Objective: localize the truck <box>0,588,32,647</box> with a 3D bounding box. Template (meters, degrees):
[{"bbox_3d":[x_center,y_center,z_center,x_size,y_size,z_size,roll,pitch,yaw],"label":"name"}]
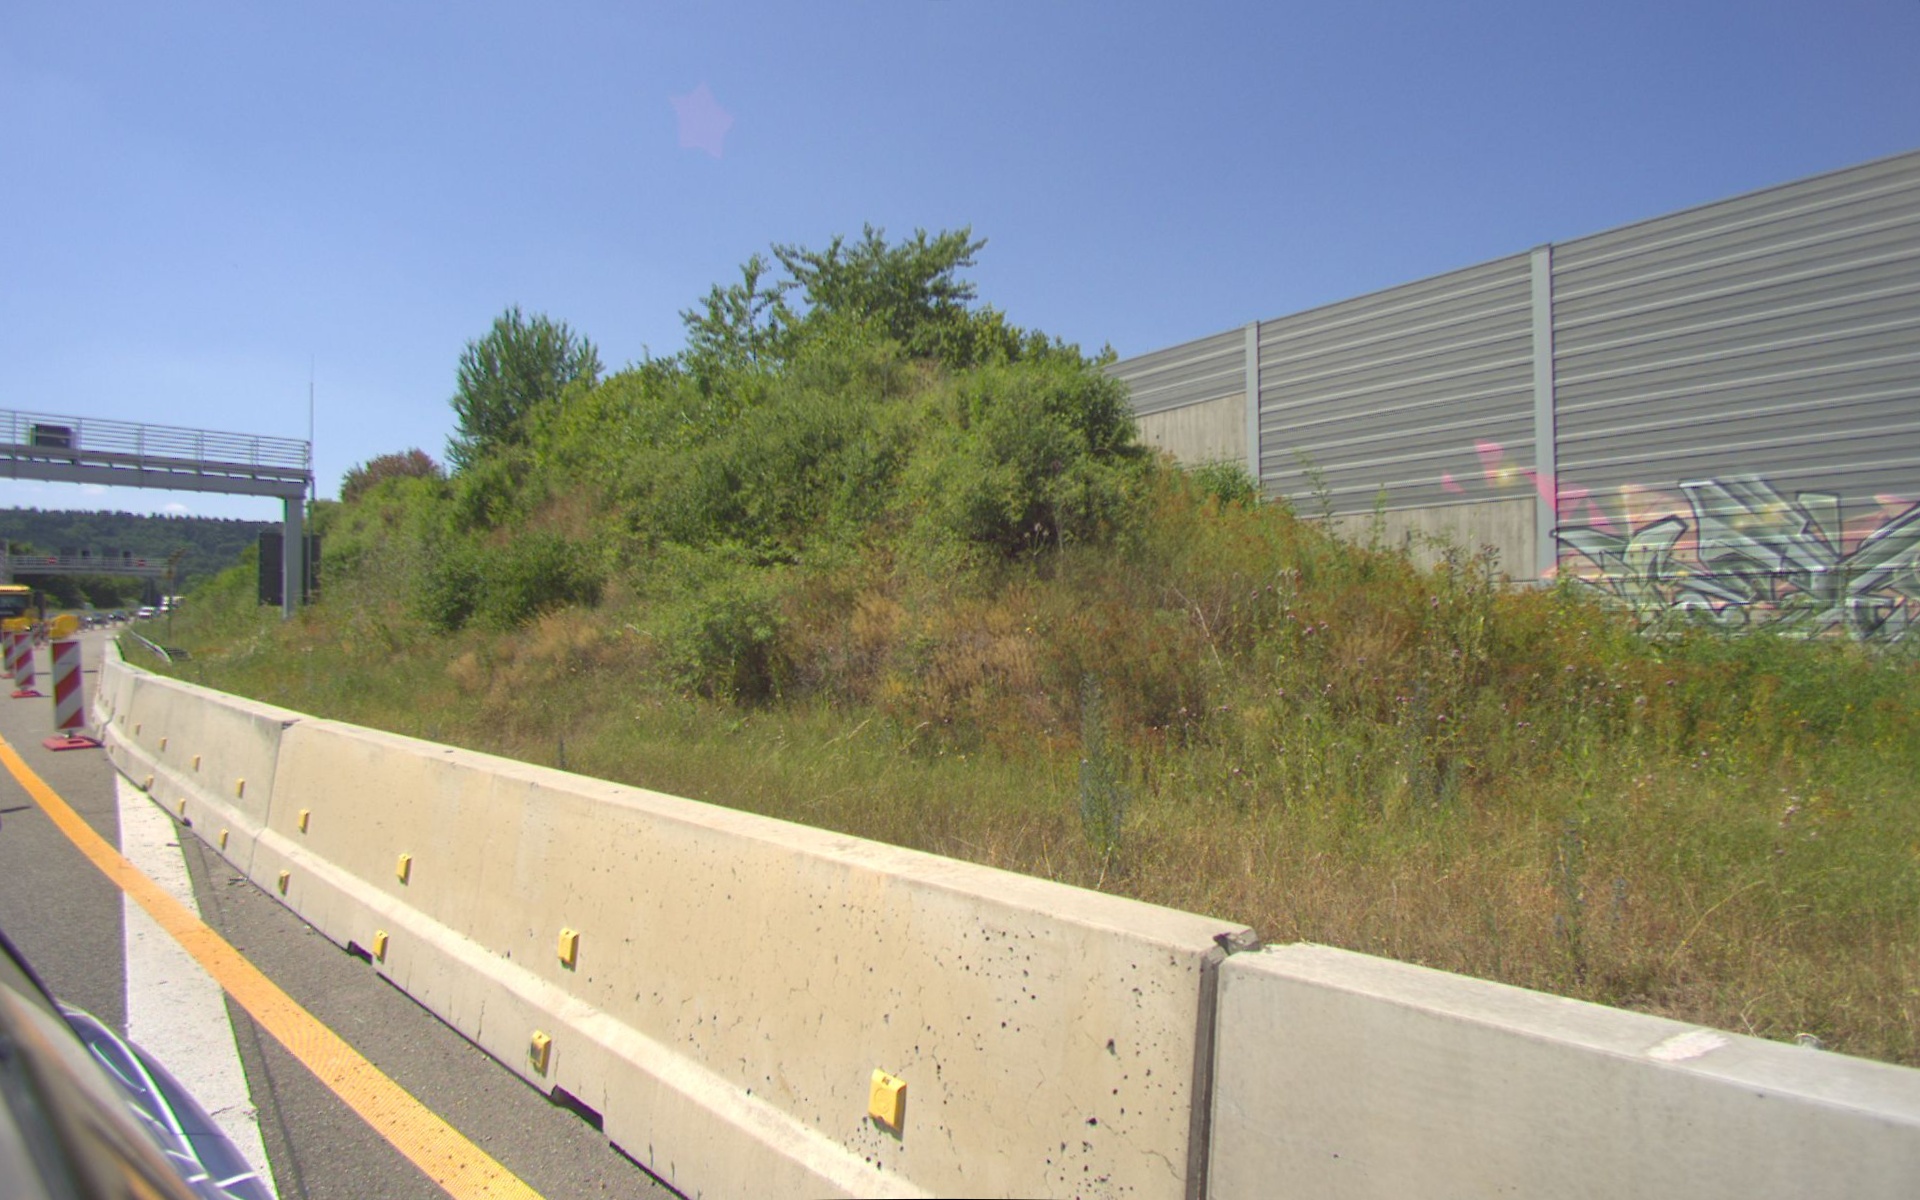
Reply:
[{"bbox_3d":[-63.241,1.228,66.444,3.182,3.688,7.093,-1,-1,-41],"label":"truck"}]

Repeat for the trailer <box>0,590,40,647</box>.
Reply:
[{"bbox_3d":[-68.691,1.509,72.801,3.188,3.695,17.447,-1,-1,-41],"label":"trailer"}]
